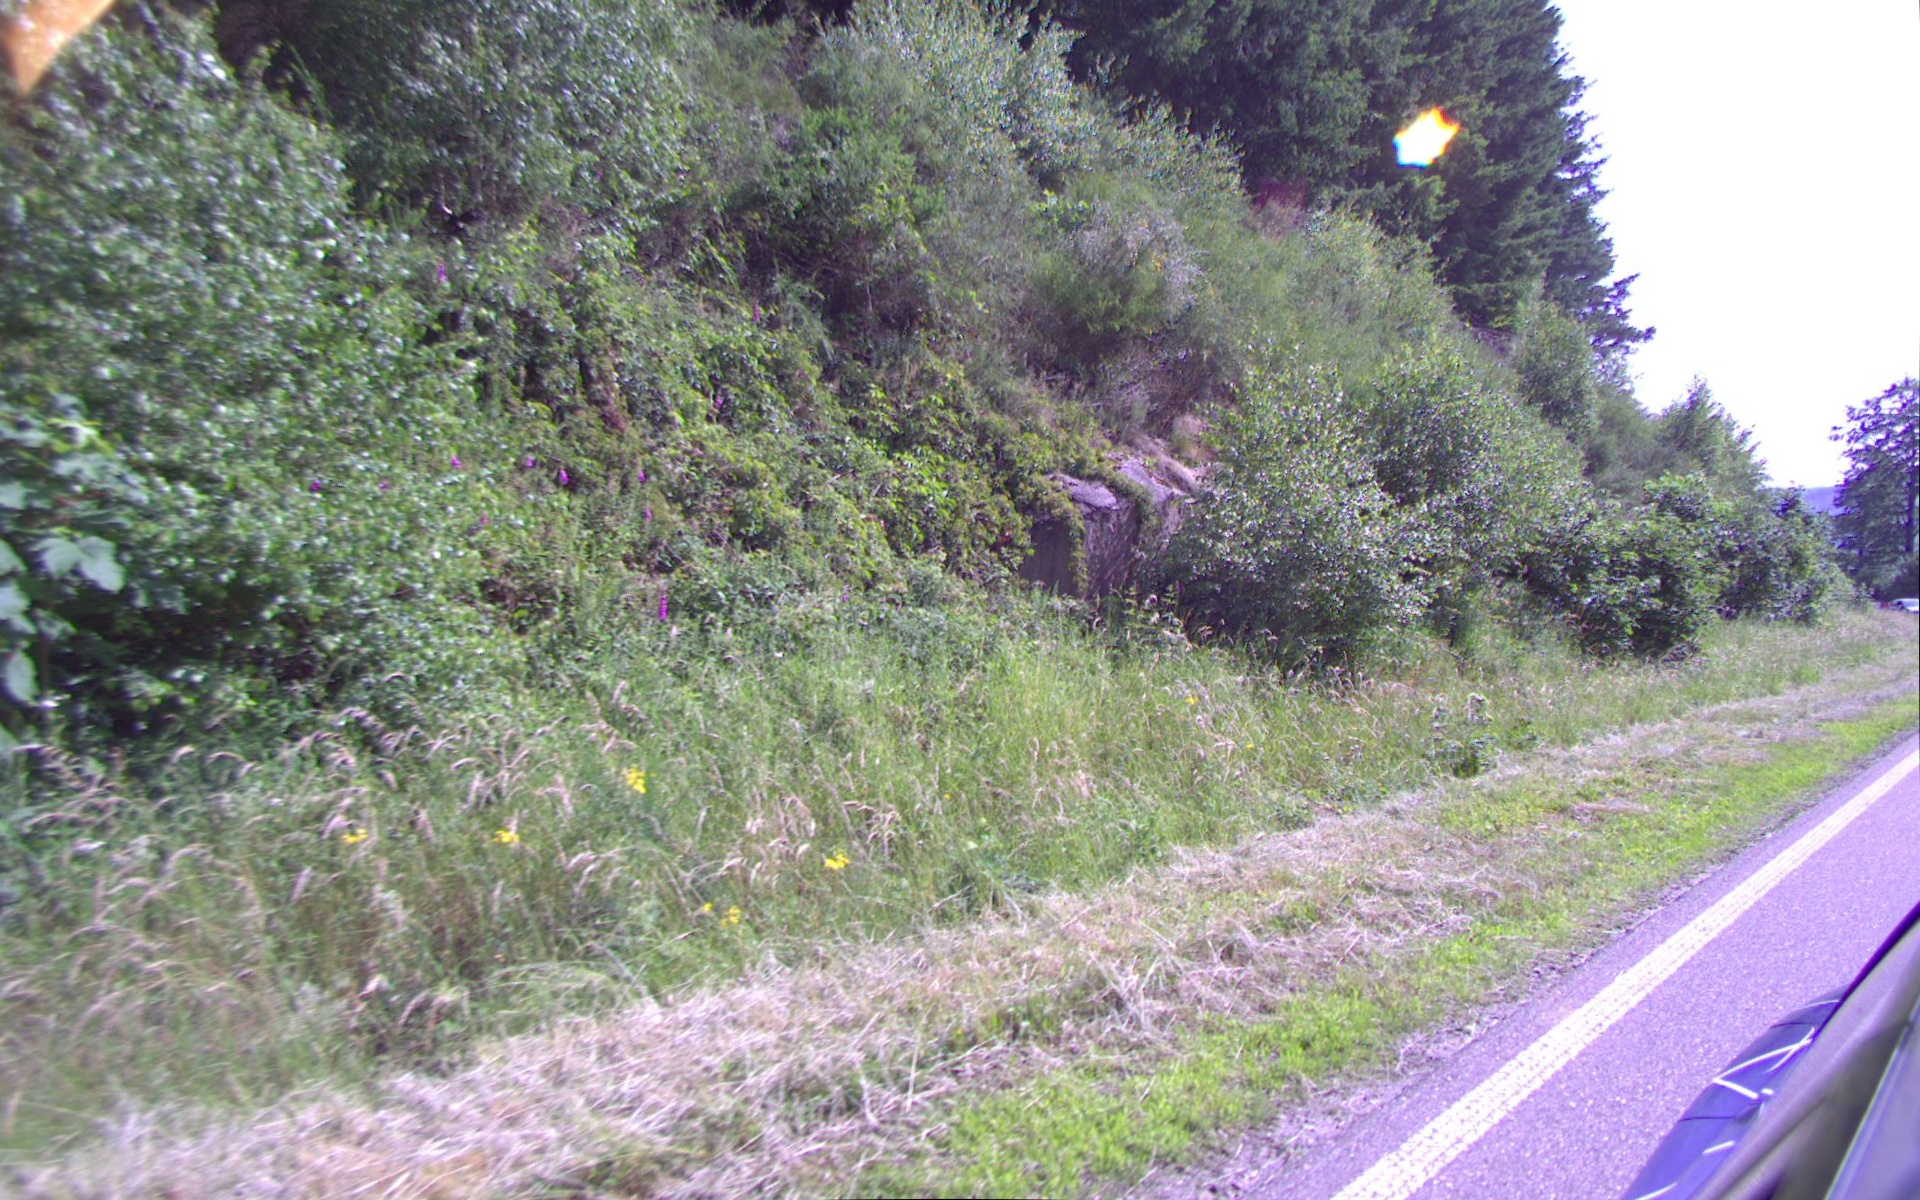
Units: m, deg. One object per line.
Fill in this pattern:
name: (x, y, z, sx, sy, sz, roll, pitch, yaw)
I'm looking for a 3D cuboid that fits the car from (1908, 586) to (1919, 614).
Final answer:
car: (60.093, 0.012, 62.129, 1.984, 1.749, 3.955, 0, 0, 31)
